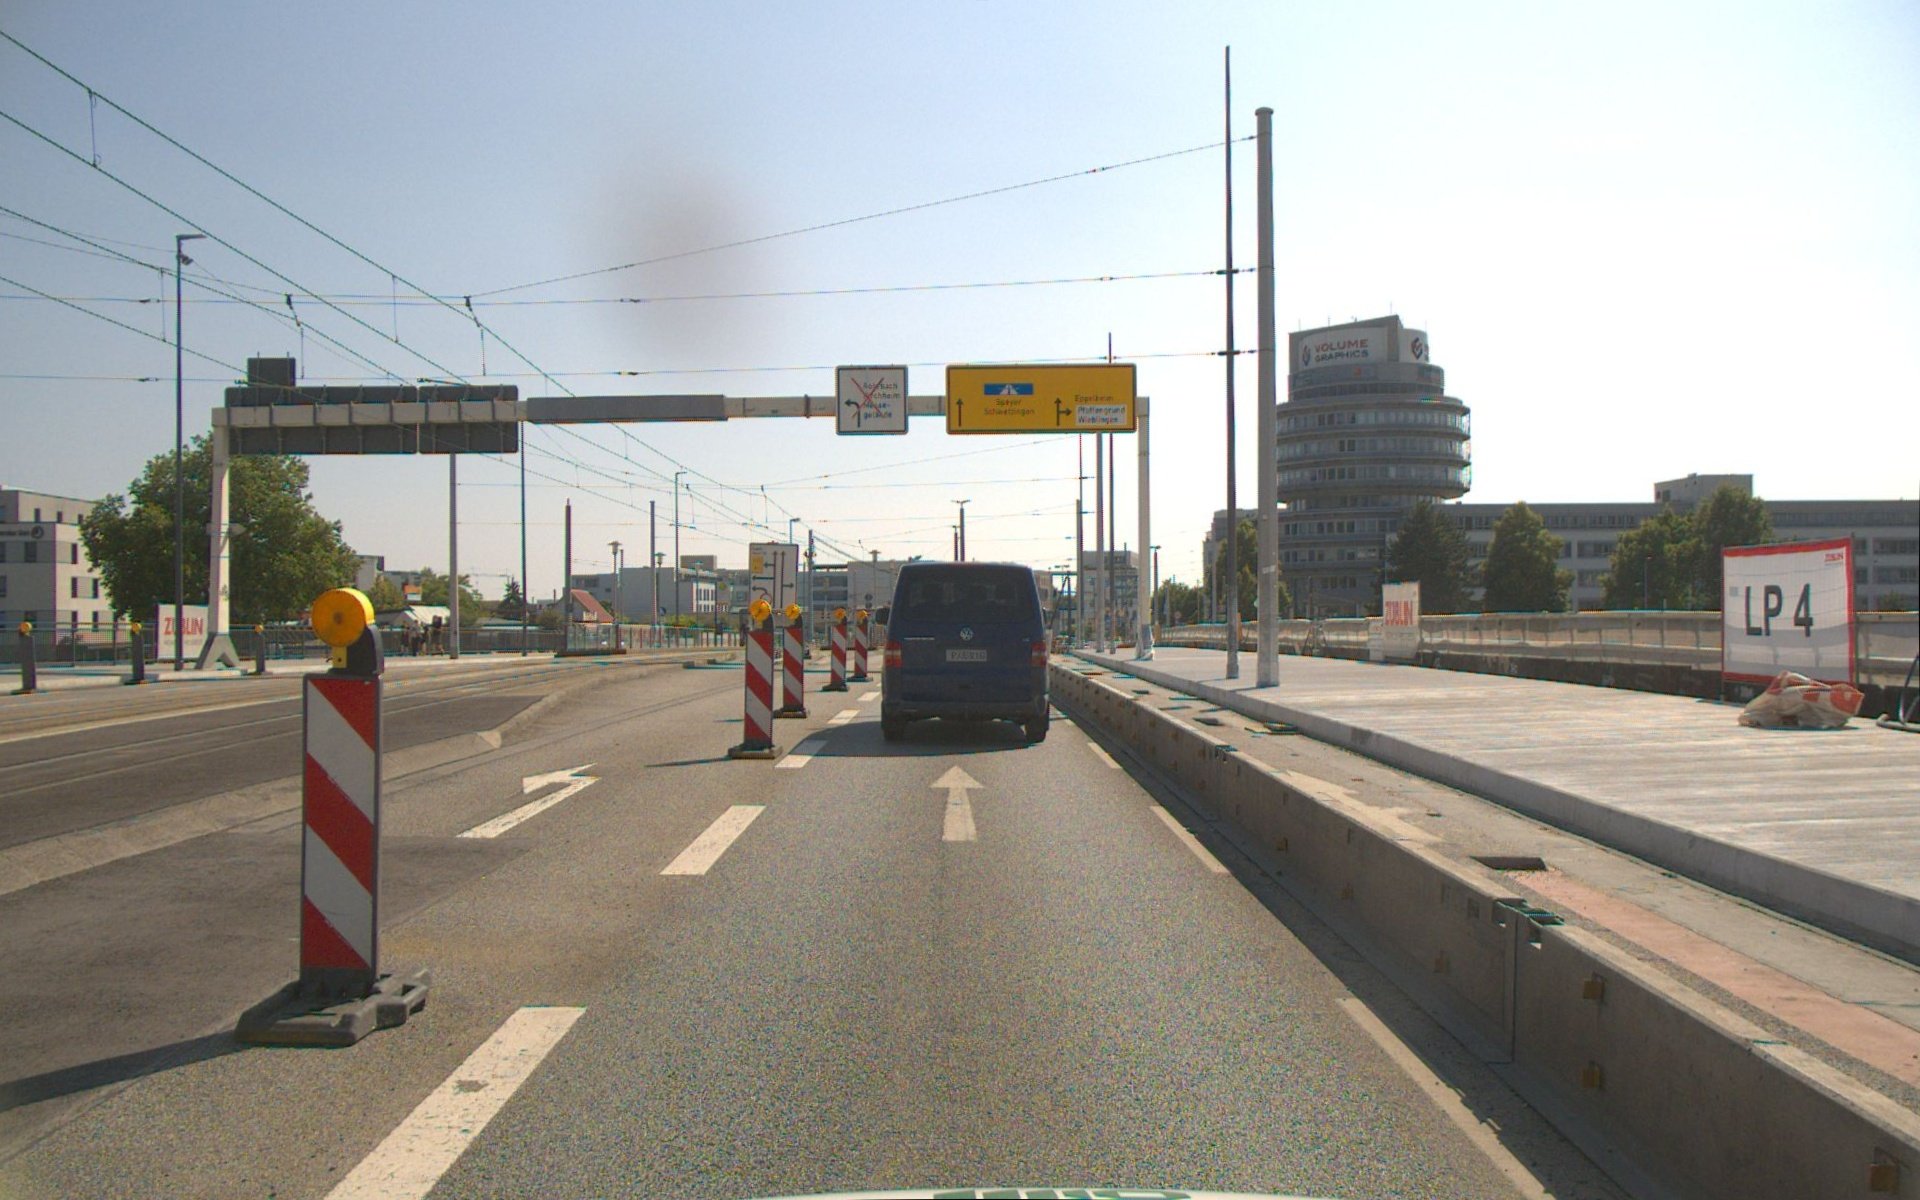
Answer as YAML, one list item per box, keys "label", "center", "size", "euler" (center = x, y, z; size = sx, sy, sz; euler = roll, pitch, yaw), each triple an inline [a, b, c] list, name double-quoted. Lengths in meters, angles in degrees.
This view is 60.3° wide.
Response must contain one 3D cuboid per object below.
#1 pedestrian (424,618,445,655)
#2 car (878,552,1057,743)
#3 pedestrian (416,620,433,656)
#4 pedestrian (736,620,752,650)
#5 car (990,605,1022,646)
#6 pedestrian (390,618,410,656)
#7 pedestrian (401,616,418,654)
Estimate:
- label: "pedestrian"
  center: [-24.598, 1.684, 77.436]
  size: [0.737, 1.717, 0.732]
  euler: [-1, -1, 3]
- label: "car"
  center: [0.053, 0.516, 19.340]
  size: [1.849, 1.968, 3.999]
  euler: [1, -1, -1]
- label: "pedestrian"
  center: [-25.378, 1.789, 78.402]
  size: [0.493, 1.717, 0.773]
  euler: [-1, -1, 3]
- label: "pedestrian"
  center: [-12.504, 2.025, 95.700]
  size: [0.646, 1.683, 0.740]
  euler: [-1, -1, 13]
- label: "car"
  center: [3.476, 1.895, 124.293]
  size: [2.290, 2.938, 5.971]
  euler: [1, 0, 2]
- label: "pedestrian"
  center: [-25.525, 1.674, 75.381]
  size: [0.585, 1.717, 0.818]
  euler: [-1, -1, 3]
- label: "pedestrian"
  center: [-24.980, 1.572, 75.095]
  size: [0.476, 1.717, 0.808]
  euler: [-1, -1, 3]
